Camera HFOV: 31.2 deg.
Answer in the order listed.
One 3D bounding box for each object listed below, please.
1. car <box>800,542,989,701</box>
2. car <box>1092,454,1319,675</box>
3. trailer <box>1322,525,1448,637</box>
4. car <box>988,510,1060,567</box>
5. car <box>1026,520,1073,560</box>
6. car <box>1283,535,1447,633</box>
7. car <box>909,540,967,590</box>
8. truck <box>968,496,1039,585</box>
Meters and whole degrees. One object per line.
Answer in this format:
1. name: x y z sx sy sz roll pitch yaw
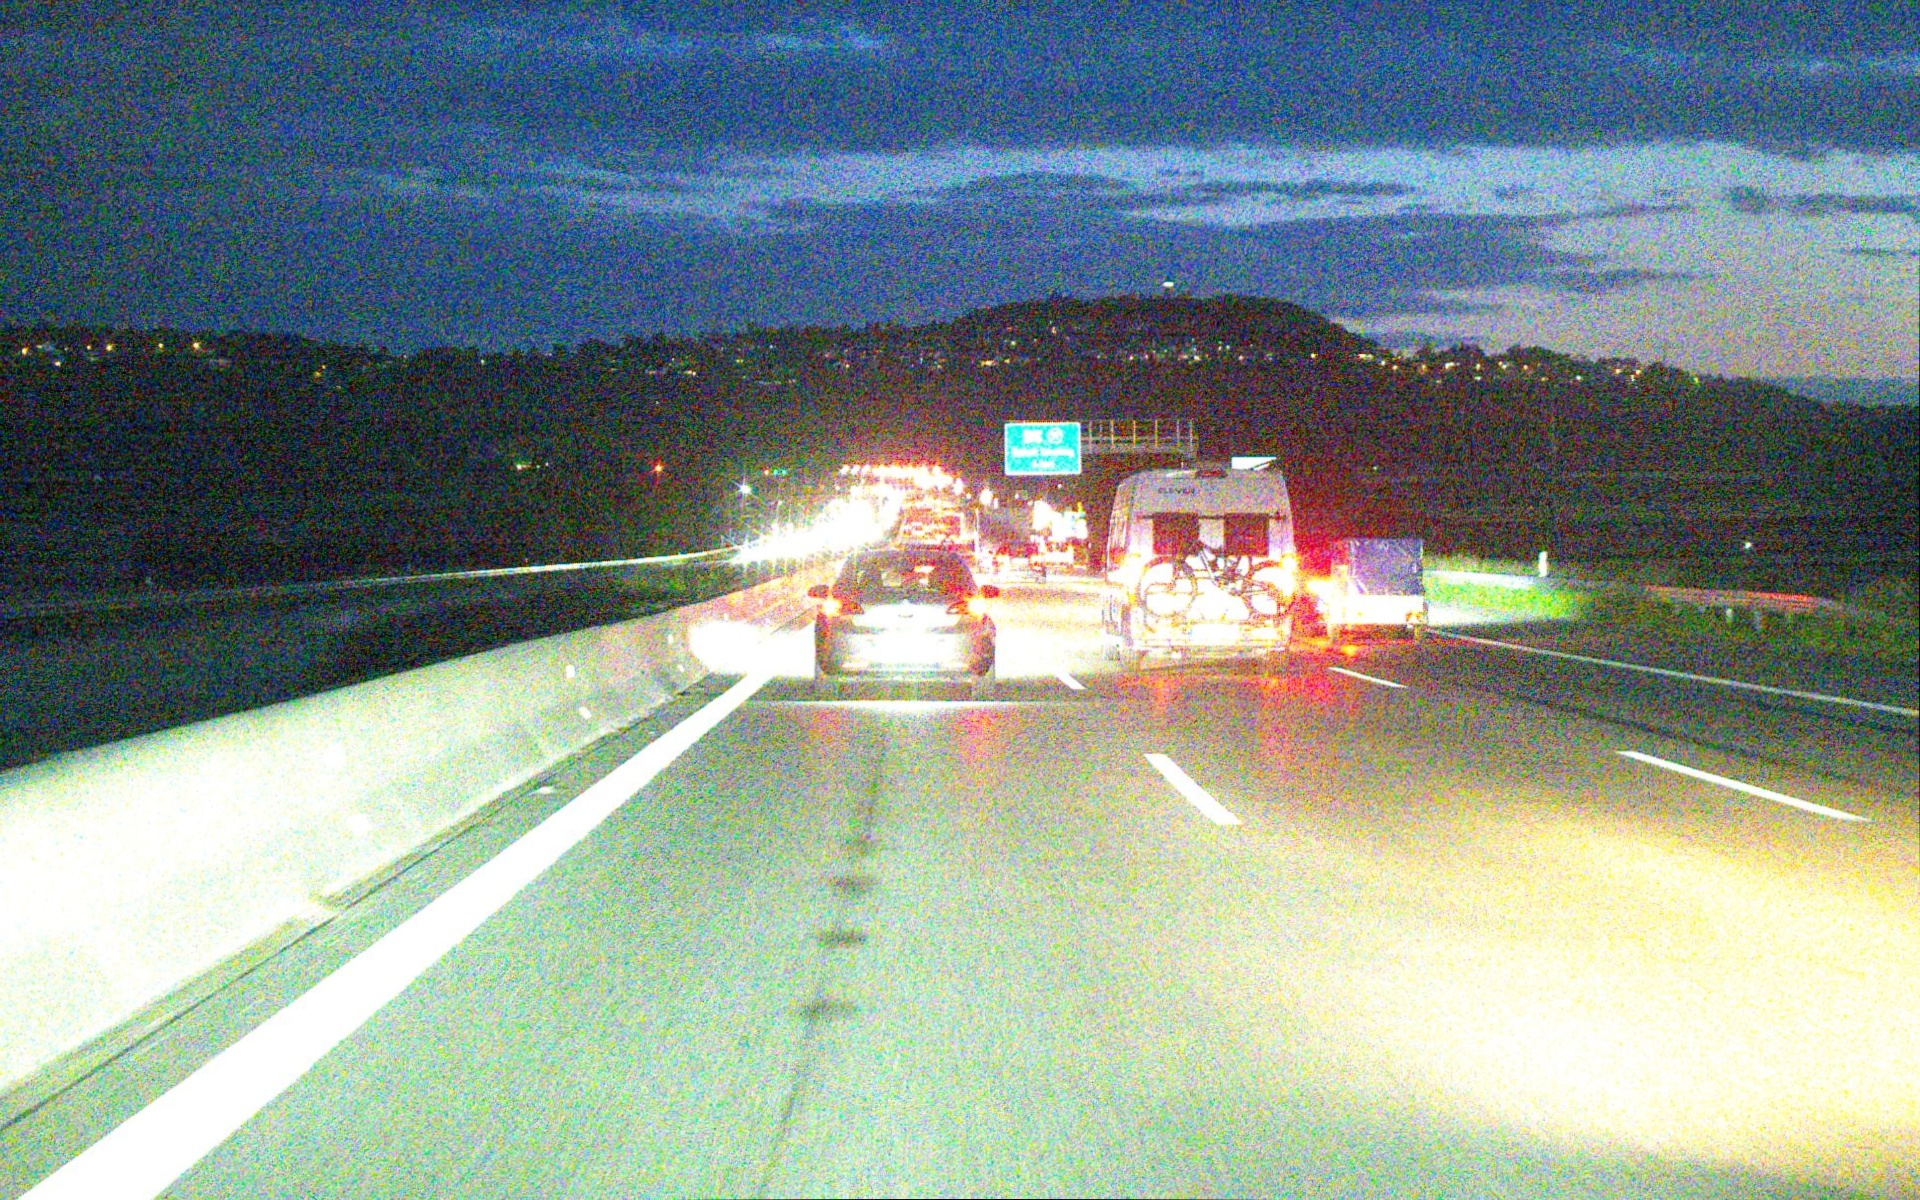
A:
1. car: -0.633 0.175 34.543 1.793 1.464 3.773 0 2 0
2. car: 2.954 -0.489 42.727 2.351 2.526 5.701 -1 2 0
3. trailer: 6.634 -0.316 53.870 1.566 1.687 2.821 -1 1 -1
4. car: 2.207 -2.149 119.243 2.351 1.907 4.723 -1 1 0
5. car: 4.779 -3.234 184.359 2.351 2.068 4.723 -1 2 0
6. car: 6.725 -0.298 57.533 2.163 1.558 4.723 0 1 0
7. car: -0.690 -1.104 106.796 1.744 1.435 4.368 -1 2 0
8. truck: 1.952 -2.729 157.195 2.781 3.942 7.994 -1 1 -2
